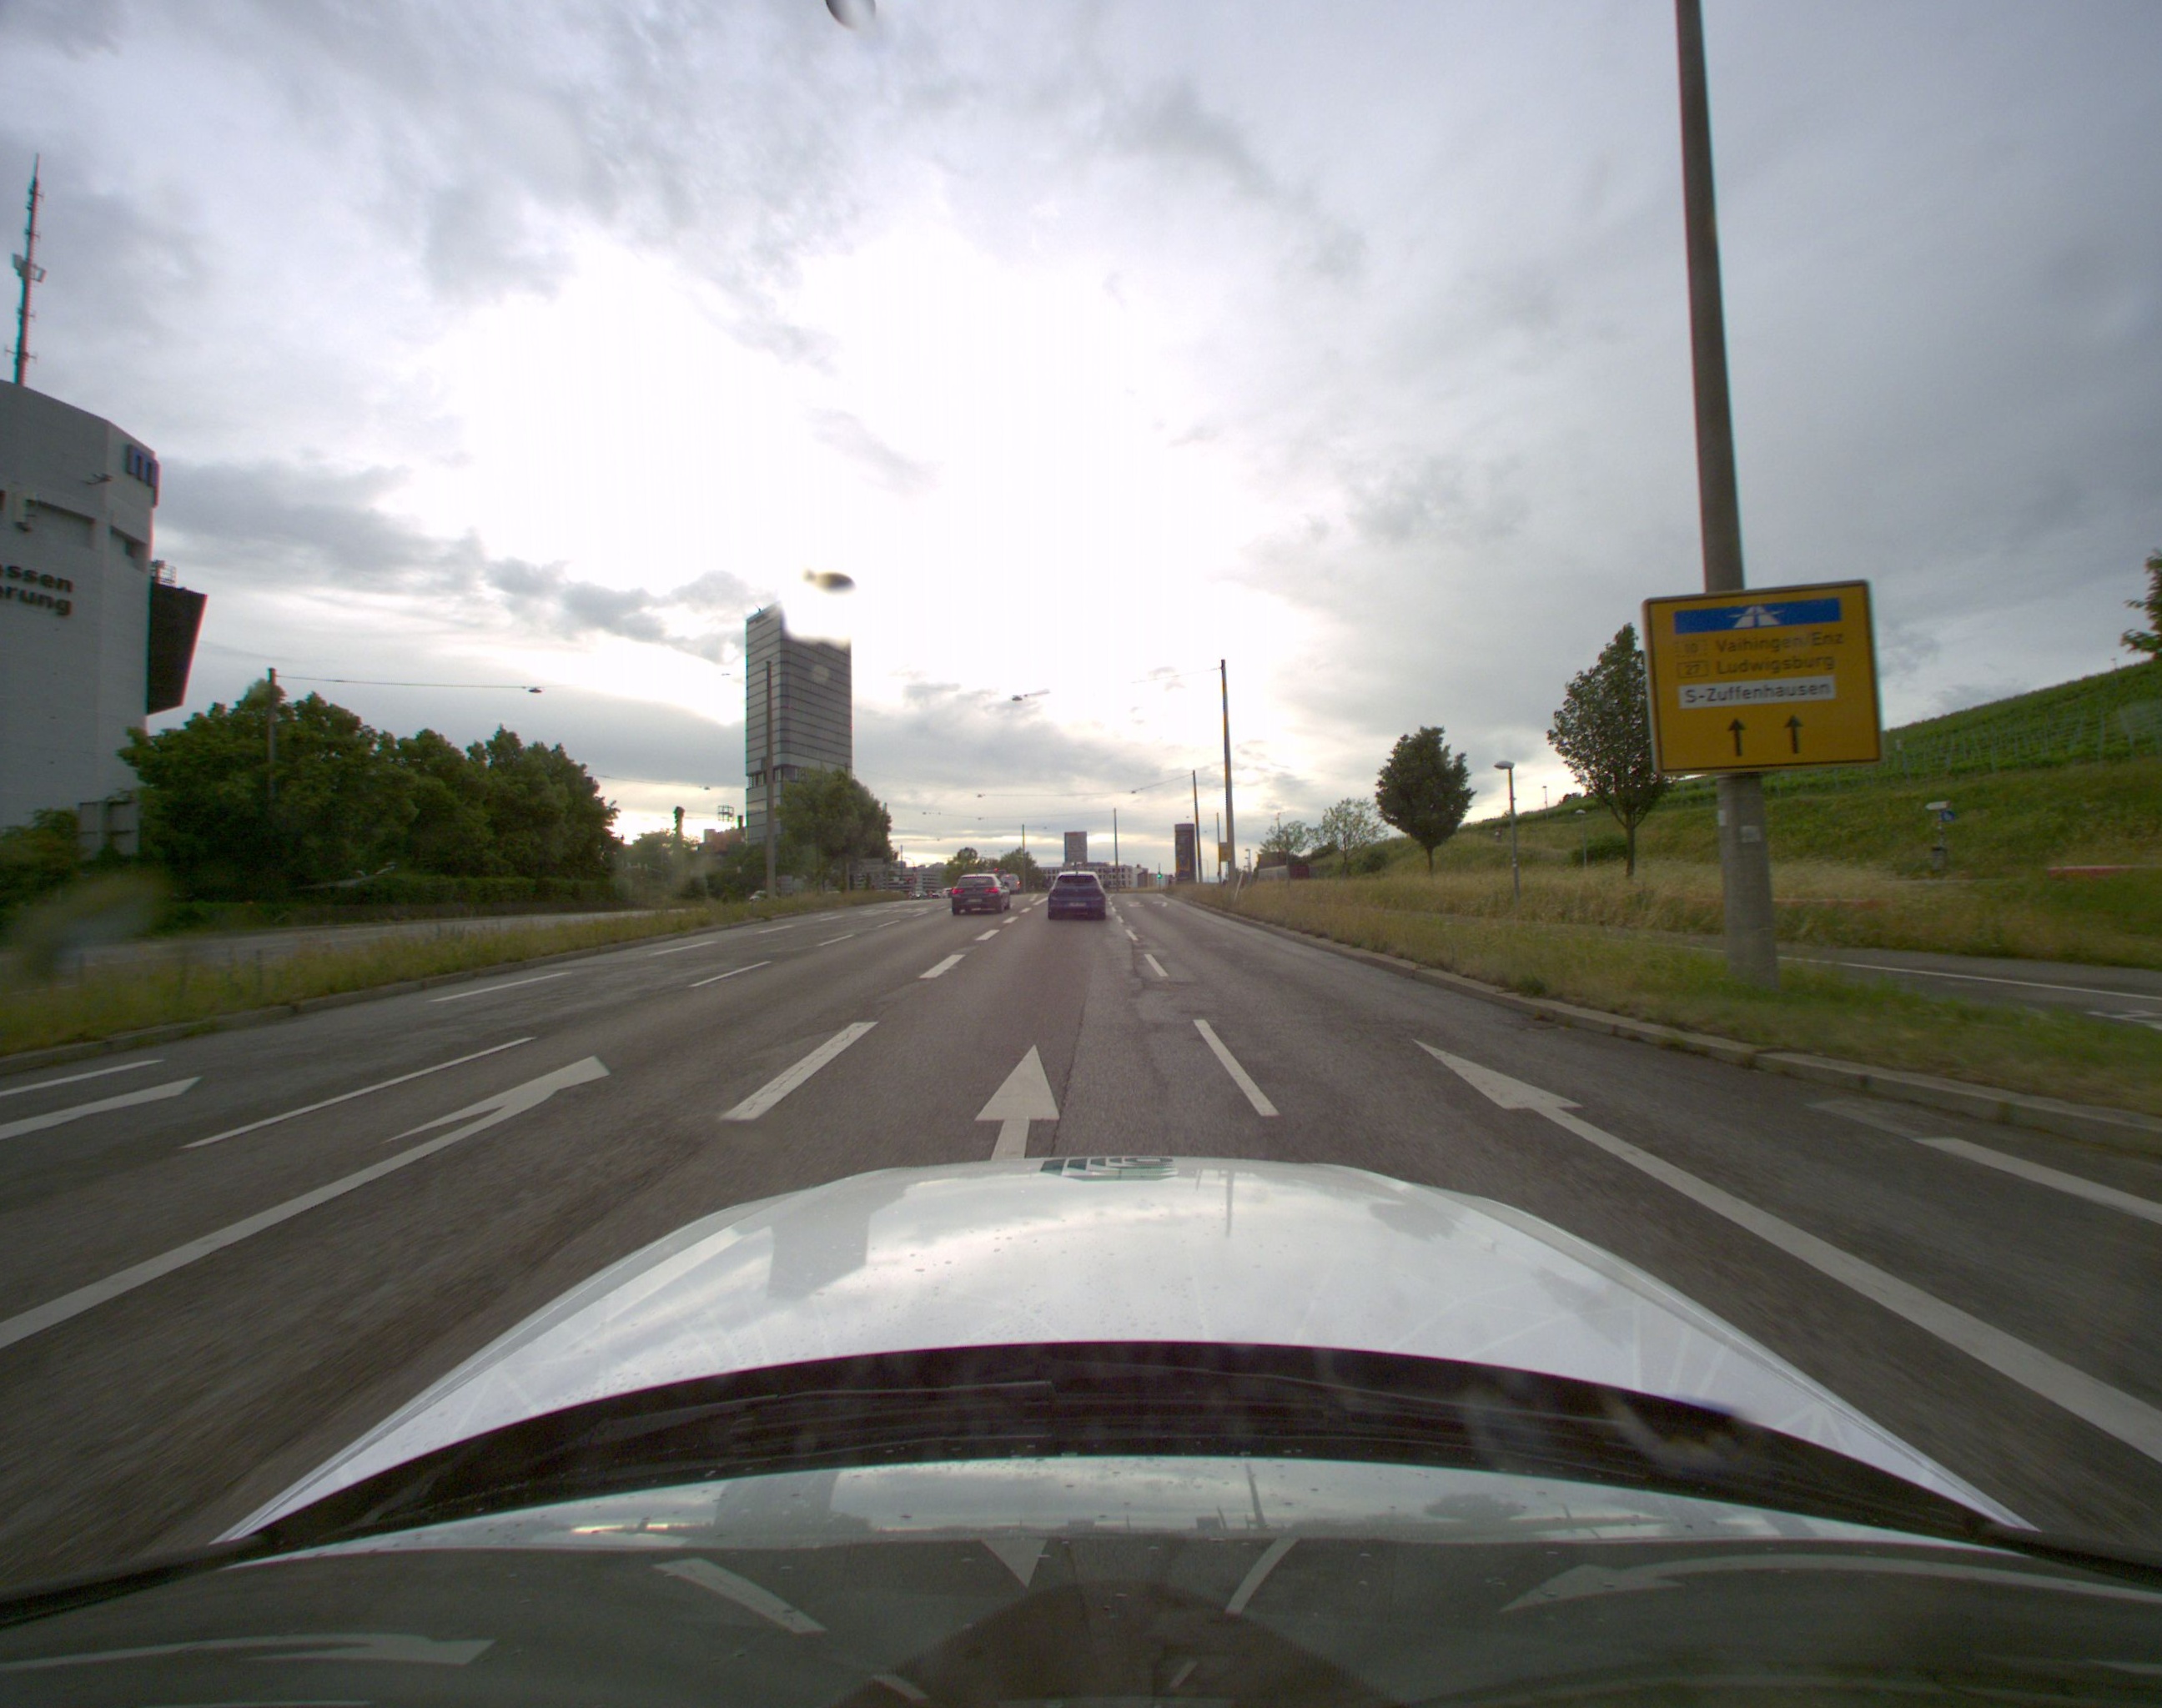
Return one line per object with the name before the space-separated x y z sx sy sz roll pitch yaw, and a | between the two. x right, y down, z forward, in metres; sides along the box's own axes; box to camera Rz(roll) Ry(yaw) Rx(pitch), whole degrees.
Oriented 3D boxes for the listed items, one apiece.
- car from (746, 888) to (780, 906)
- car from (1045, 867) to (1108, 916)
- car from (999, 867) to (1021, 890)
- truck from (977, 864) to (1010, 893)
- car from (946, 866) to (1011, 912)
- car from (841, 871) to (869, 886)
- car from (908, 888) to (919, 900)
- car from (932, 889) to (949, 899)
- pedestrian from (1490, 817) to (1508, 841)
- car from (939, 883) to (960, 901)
car | -27.050 3.635 69.306 1.591 1.360 3.672 1 0 -3
car | -0.092 1.135 25.918 1.831 1.394 4.001 -1 -1 1
car | -6.838 2.410 78.171 1.903 1.973 5.078 -2 -3 -7
truck | -10.180 2.843 94.501 2.673 3.220 6.509 0 -3 -17
car | -3.696 1.226 29.898 1.863 1.461 3.975 -1 0 0
car | -26.782 2.917 96.508 1.886 1.658 4.605 -1 -2 1
car | -27.660 6.635 134.370 1.766 1.838 3.740 -1 -2 -13
car | -23.739 6.752 137.927 1.922 1.484 4.582 -1 -2 3
pedestrian | 36.020 -2.176 70.166 0.784 2.013 1.044 -3 -1 -32
car | -17.037 4.886 105.315 2.000 2.013 3.973 -3 0 -20
